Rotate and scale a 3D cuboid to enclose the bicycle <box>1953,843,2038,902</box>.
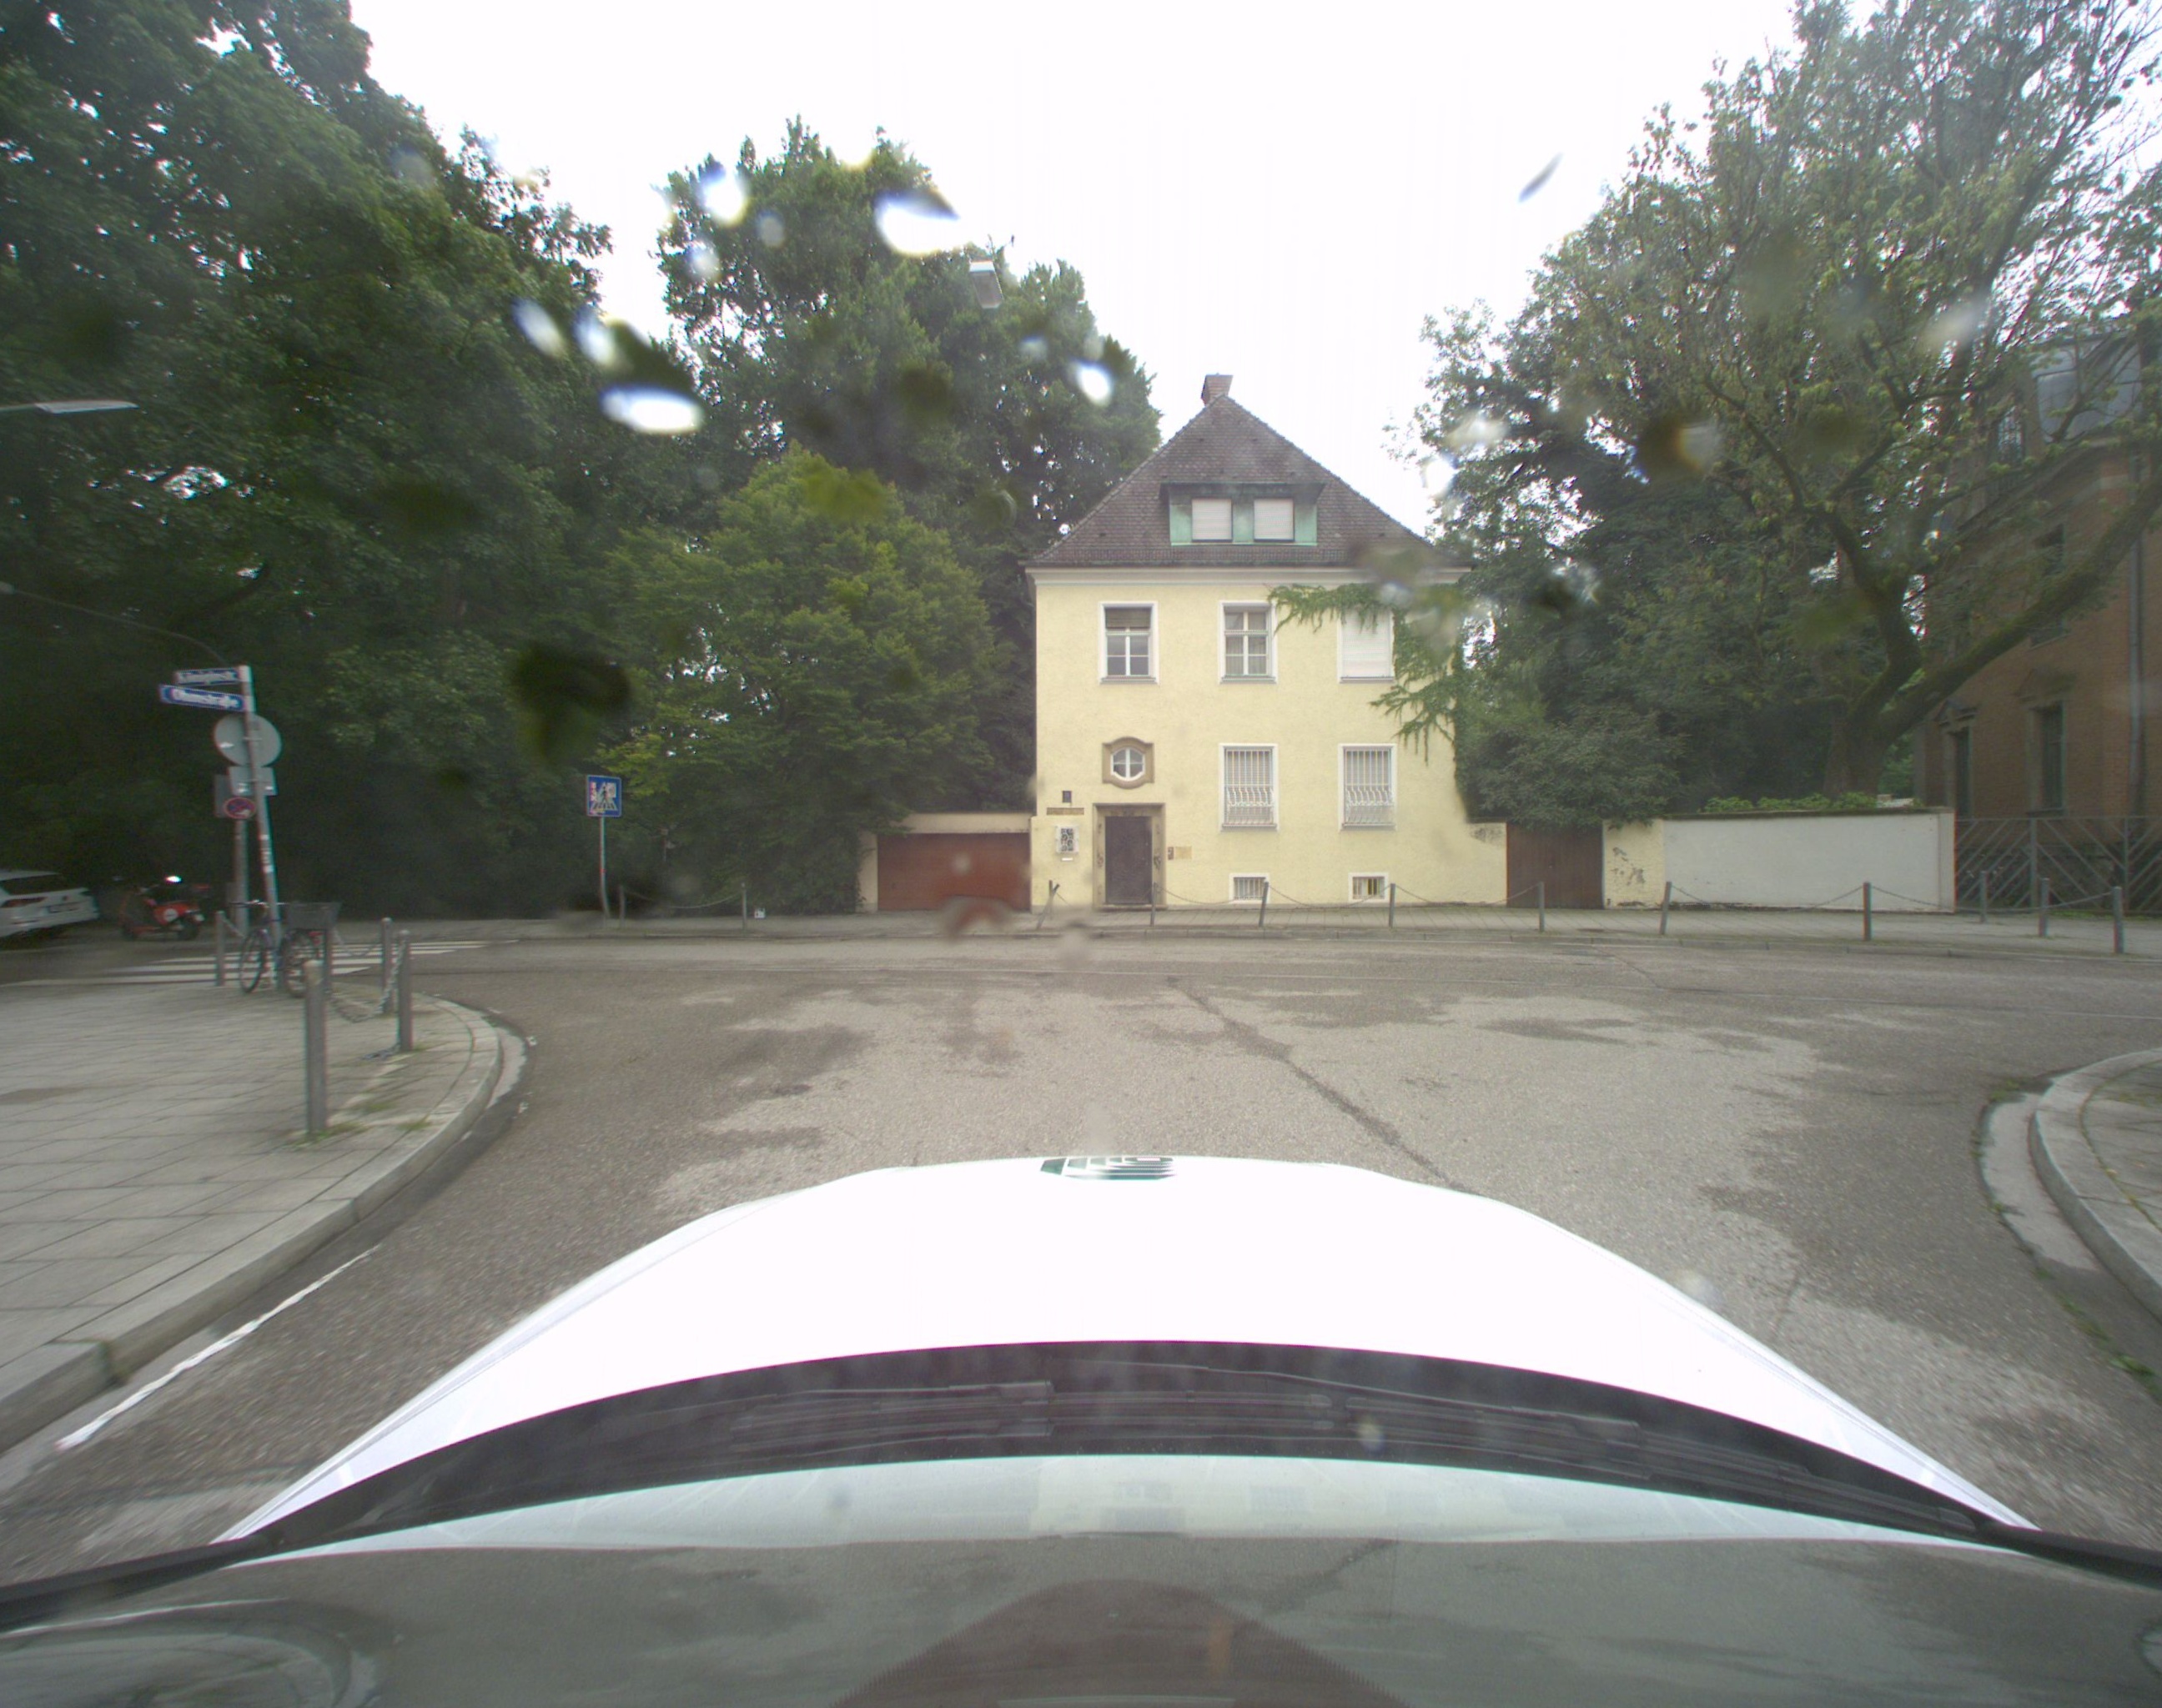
[{"bbox_3d":[20.039,0.393,17.888,0.529,1.219,2.095,0,0,28],"label":"bicycle"}]

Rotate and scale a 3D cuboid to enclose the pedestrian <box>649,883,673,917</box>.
[{"bbox_3d":[-15.035,1.637,29.168,0.584,1.169,0.497,0,-1,-1],"label":"pedestrian"}]

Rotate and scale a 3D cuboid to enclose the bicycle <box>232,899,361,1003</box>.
[{"bbox_3d":[-8.837,1.045,9.153,1.982,1.010,0.515,0,-1,30],"label":"bicycle"}]

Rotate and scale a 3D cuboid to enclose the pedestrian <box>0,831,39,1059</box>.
[{"bbox_3d":[-8.212,0.653,5.860,0.717,1.642,0.818,0,-1,34],"label":"pedestrian"}]

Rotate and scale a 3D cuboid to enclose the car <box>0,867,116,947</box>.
[{"bbox_3d":[-21.948,1.030,15.571,4.423,1.448,1.619,-1,0,-11],"label":"car"}]

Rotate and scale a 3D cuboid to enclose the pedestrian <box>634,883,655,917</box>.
[{"bbox_3d":[-15.584,1.638,29.103,0.469,1.156,0.497,0,-1,-1],"label":"pedestrian"}]

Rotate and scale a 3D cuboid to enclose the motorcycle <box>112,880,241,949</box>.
[{"bbox_3d":[-17.407,1.136,15.686,1.983,1.183,0.863,0,3,18],"label":"motorcycle"}]
